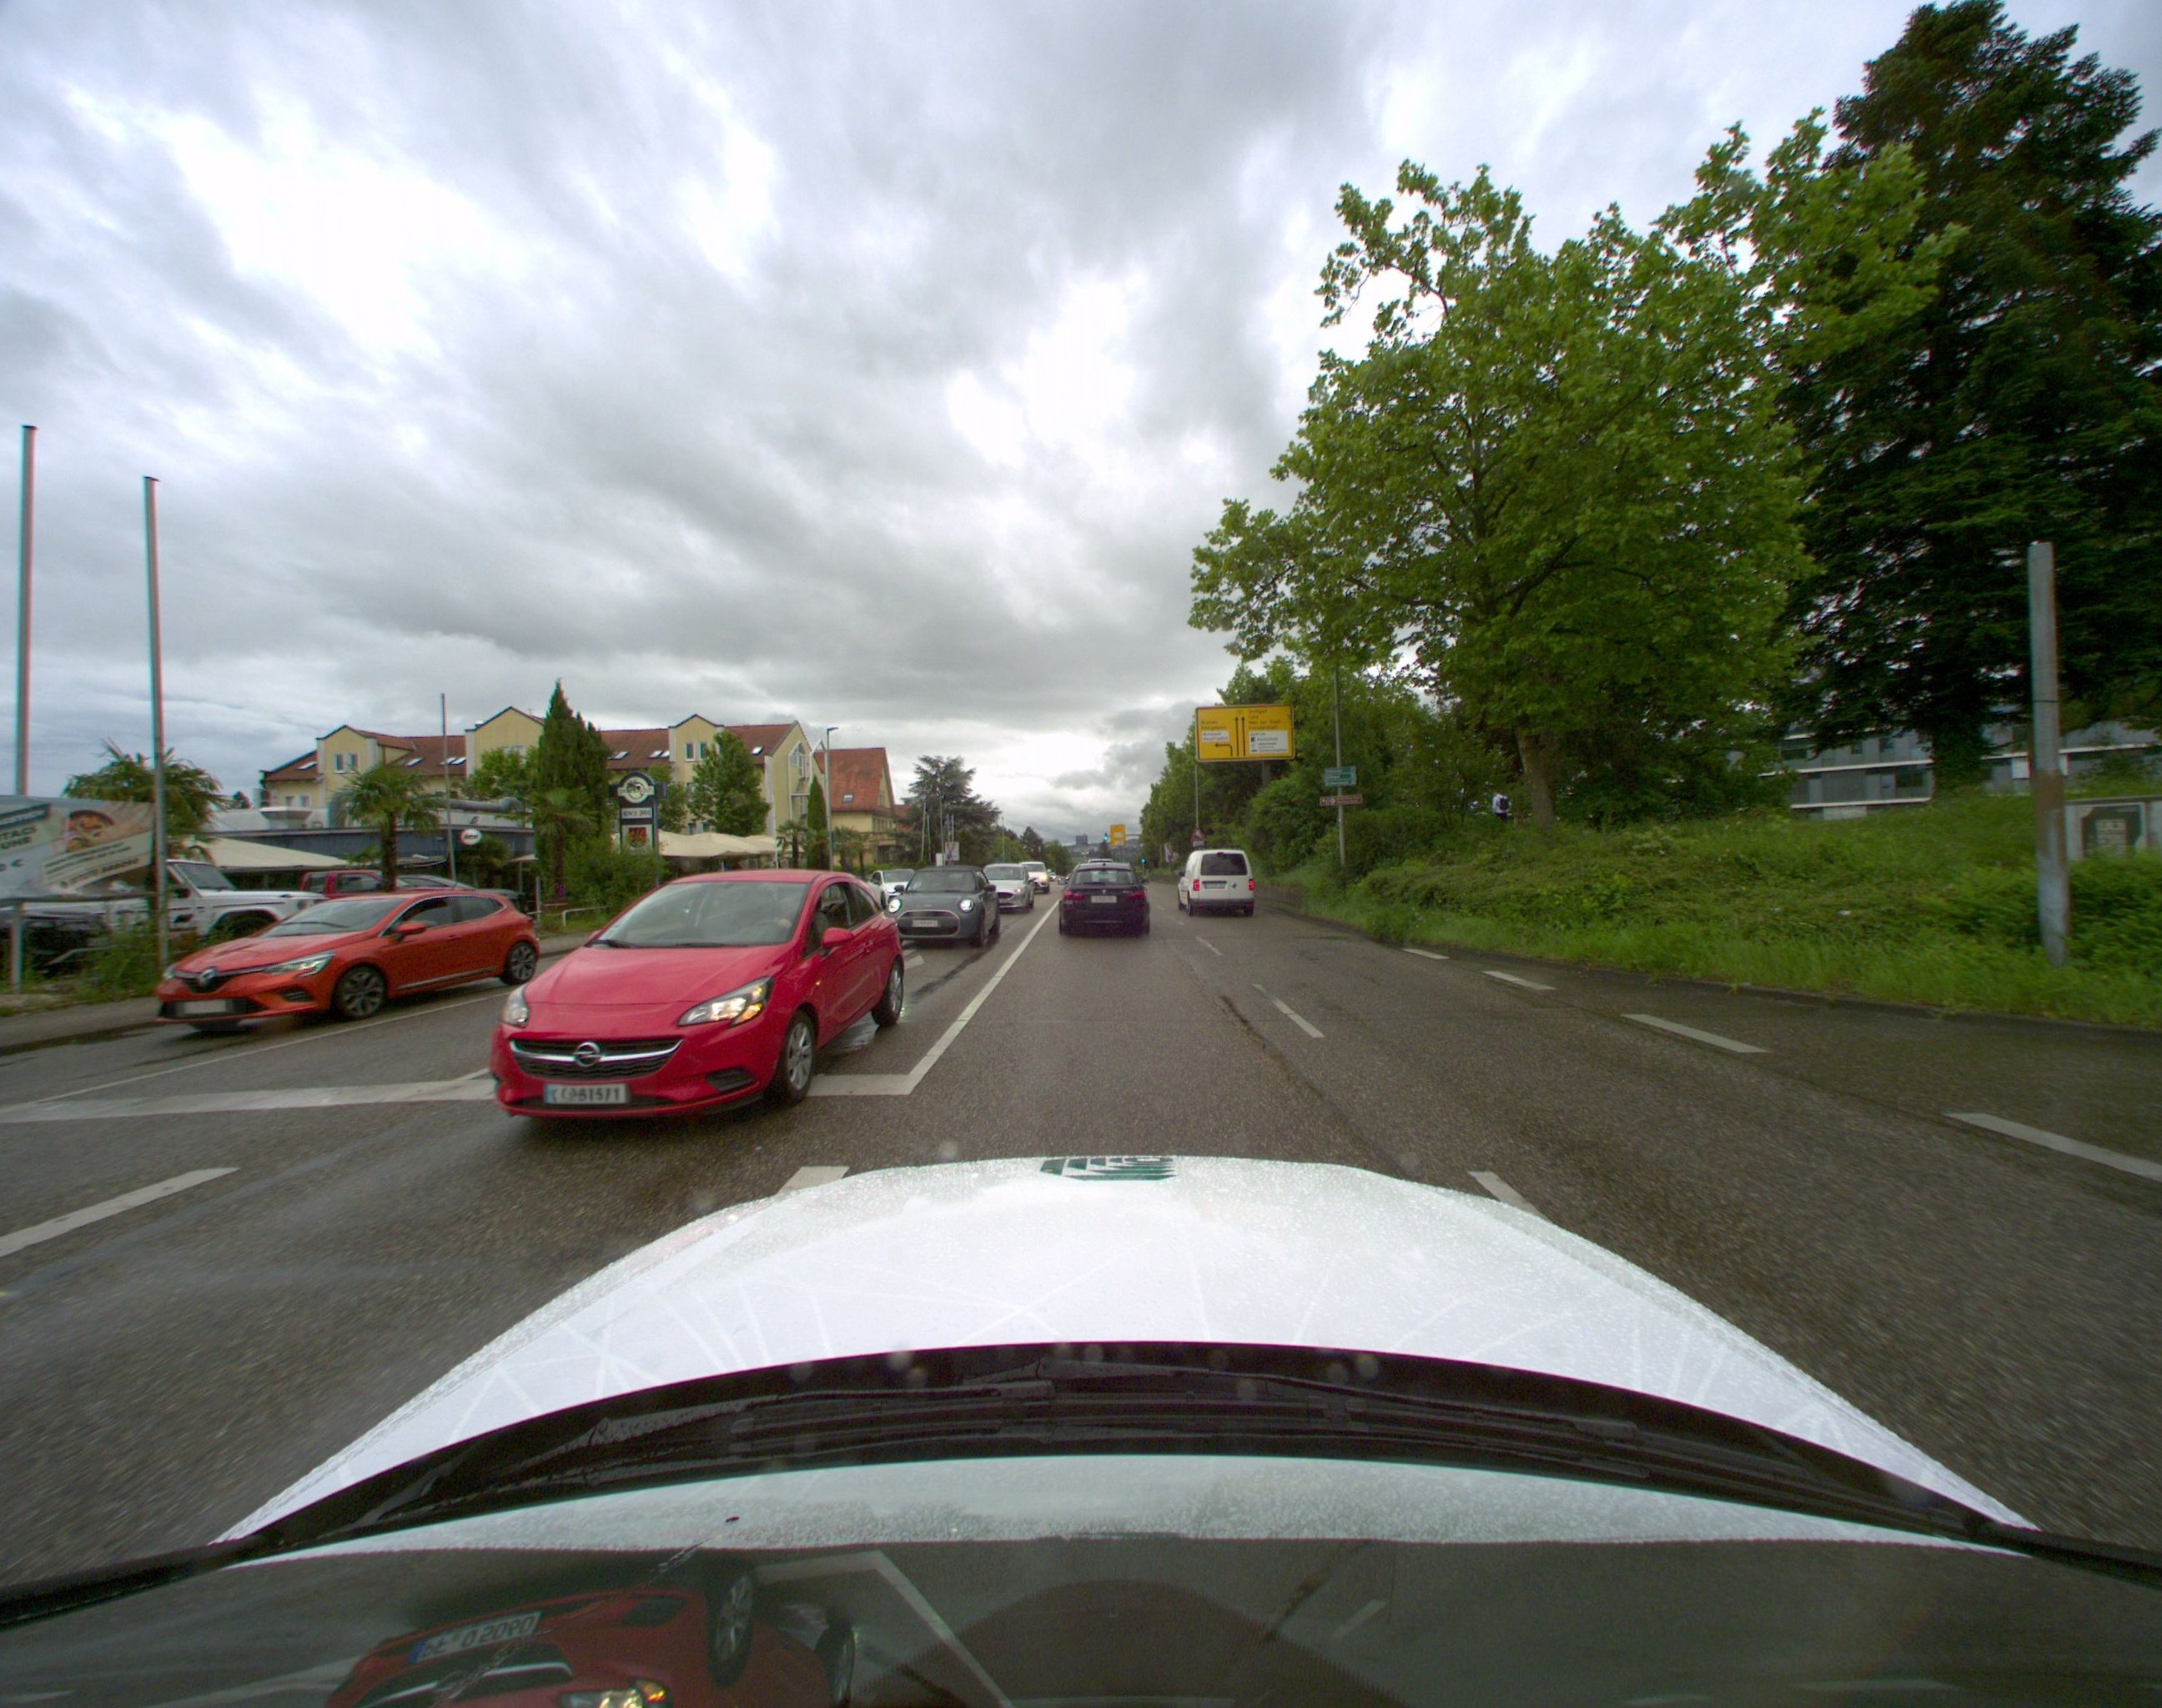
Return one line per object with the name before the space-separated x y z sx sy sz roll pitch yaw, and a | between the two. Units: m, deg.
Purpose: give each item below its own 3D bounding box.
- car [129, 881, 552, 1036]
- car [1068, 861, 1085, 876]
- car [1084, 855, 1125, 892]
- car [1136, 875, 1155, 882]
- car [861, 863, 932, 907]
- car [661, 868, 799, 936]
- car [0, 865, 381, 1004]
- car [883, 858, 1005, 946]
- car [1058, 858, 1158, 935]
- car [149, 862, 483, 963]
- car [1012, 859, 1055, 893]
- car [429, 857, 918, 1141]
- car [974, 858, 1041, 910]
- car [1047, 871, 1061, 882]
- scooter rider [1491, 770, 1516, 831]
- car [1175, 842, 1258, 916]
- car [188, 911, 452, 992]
car | -8.868 1.141 10.317 1.617 1.332 3.947 -3 0 1
car | -0.511 1.723 98.552 1.861 1.673 4.002 -1 1 2
car | 1.165 0.909 40.025 1.861 1.673 4.002 -1 1 2
car | 13.699 5.201 171.863 3.967 1.376 1.587 -1 -2 5
car | -6.995 1.145 30.609 1.646 1.477 4.009 -2 -1 -27
car | -8.953 1.155 21.205 1.597 1.399 4.404 -4 0 0
car | -16.458 1.378 15.408 4.410 2.013 1.982 -4 0 -27
car | -2.514 0.824 15.821 1.596 1.441 3.949 -1 0 1
car | 0.597 0.839 17.604 1.891 1.441 4.002 -1 -1 2
car | -16.788 1.246 18.303 5.024 1.702 1.982 -4 -2 -27
car | -2.349 1.095 41.137 1.781 1.581 4.239 -2 -1 1
car | -2.569 0.795 6.366 1.626 1.434 4.145 -2 -1 1
car | -2.168 0.864 24.839 1.596 1.441 3.949 -1 -1 1
car | -4.717 3.899 140.565 1.910 1.763 5.145 -4 -2 2
scooter rider | 13.978 -1.773 26.966 0.499 1.965 0.548 -2 1 1
car | 3.740 0.623 23.048 1.758 1.877 3.806 -1 1 1
car | -18.901 2.369 20.523 4.373 1.464 1.984 -4 -2 -23
